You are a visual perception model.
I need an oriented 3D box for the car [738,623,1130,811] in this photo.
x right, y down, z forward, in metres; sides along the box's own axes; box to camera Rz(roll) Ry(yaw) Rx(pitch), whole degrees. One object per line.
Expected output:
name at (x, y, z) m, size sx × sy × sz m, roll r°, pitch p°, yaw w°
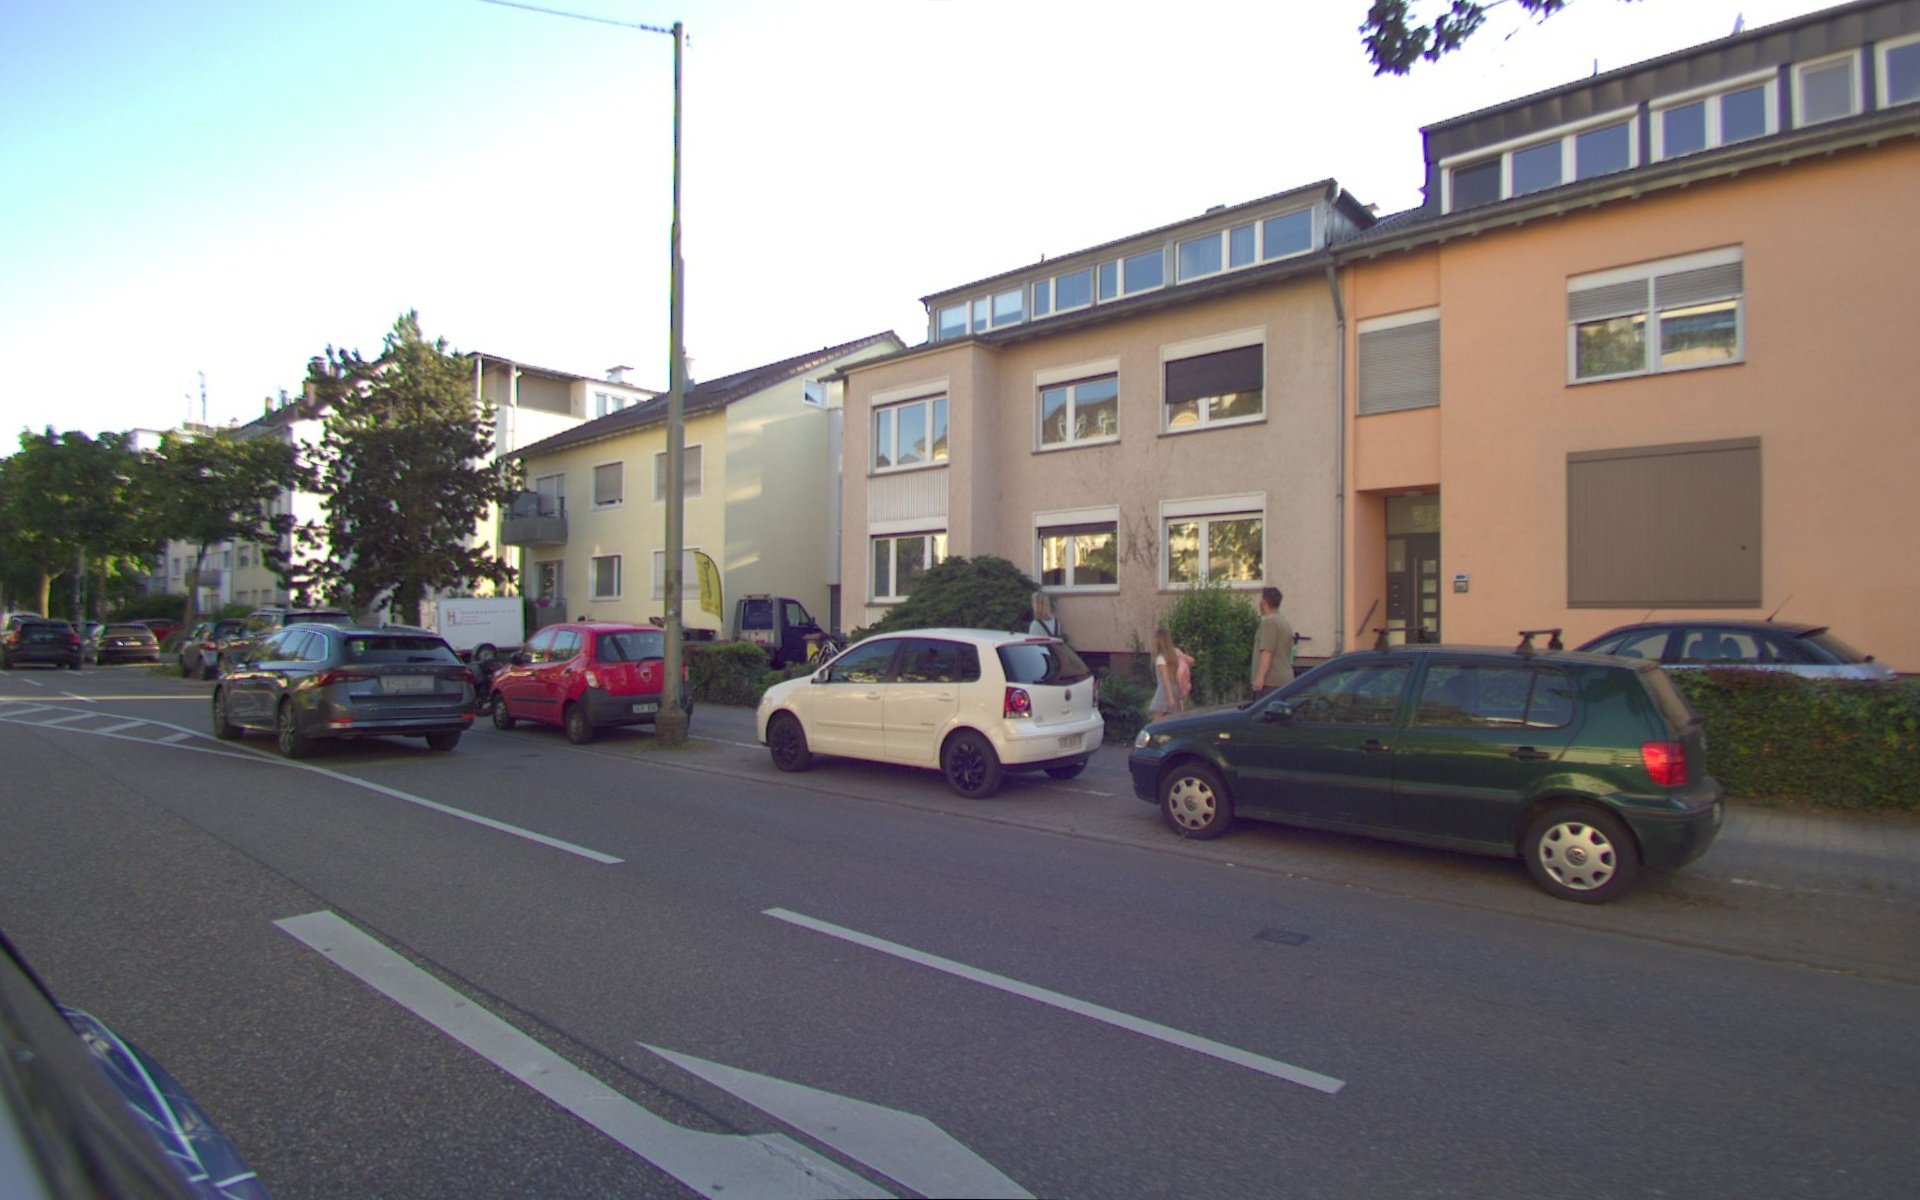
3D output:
car at (-0.385, 1.000, 10.146) m, size 3.888 × 1.535 × 1.577 m, roll -1°, pitch -2°, yaw 40°

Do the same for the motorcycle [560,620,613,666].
motorcycle at (-11.797, 1.339, 31.927) m, size 2.257 × 1.384 × 0.564 m, roll -1°, pitch -3°, yaw 41°

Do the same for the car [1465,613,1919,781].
car at (7.443, 0.885, 10.388) m, size 3.752 × 1.420 × 1.646 m, roll -1°, pitch -3°, yaw 43°

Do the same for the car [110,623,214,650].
car at (-46.807, 2.093, 59.480) m, size 1.735 × 1.416 × 4.516 m, roll -1°, pitch 0°, yaw 31°

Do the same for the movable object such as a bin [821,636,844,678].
movable object such as a bin at (-3.212, 1.434, 25.492) m, size 0.349 × 1.046 × 0.430 m, roll -1°, pitch -3°, yaw 41°

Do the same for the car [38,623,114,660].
car at (-37.406, 1.751, 42.807) m, size 3.997 × 1.497 × 1.838 m, roll -1°, pitch -3°, yaw 40°

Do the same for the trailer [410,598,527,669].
trailer at (-14.830, 1.009, 30.616) m, size 1.551 × 2.029 × 2.745 m, roll -1°, pitch -2°, yaw 39°

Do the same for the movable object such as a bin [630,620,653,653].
movable object such as a bin at (-9.949, 1.134, 31.620) m, size 0.450 × 1.026 × 0.497 m, roll -1°, pitch -3°, yaw 40°

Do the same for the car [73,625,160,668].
car at (-29.541, 1.598, 35.403) m, size 4.441 × 1.418 × 1.620 m, roll -1°, pitch -2°, yaw 41°

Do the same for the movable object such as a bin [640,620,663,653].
movable object such as a bin at (-9.537, 1.126, 31.296) m, size 0.450 × 1.026 × 0.497 m, roll -1°, pitch -3°, yaw 40°

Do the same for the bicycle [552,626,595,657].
bicycle at (-13.440, 1.433, 35.166) m, size 2.045 × 1.072 × 0.513 m, roll -1°, pitch -2°, yaw 41°

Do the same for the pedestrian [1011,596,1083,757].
pedestrian at (1.018, 0.871, 11.833) m, size 0.506 × 1.806 × 0.705 m, roll -1°, pitch -3°, yaw 44°

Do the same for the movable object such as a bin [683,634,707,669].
movable object such as a bin at (-7.804, 1.504, 29.766) m, size 0.450 × 1.026 × 0.497 m, roll -1°, pitch -3°, yaw 40°

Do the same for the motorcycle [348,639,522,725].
motorcycle at (-8.496, 1.292, 16.409) m, size 2.350 × 1.276 × 1.176 m, roll 0°, pitch -2°, yaw 18°

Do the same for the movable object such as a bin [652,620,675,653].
movable object such as a bin at (-9.069, 1.115, 30.947) m, size 0.450 × 1.026 × 0.497 m, roll -1°, pitch -3°, yaw 40°

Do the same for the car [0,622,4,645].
car at (-59.935, 2.027, 62.233) m, size 3.682 × 1.416 × 1.388 m, roll -1°, pitch -2°, yaw 43°

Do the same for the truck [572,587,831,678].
truck at (-6.853, 0.897, 27.780) m, size 2.275 × 2.202 × 6.823 m, roll -1°, pitch -2°, yaw 41°

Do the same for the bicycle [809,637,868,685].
bicycle at (-2.901, 1.423, 24.056) m, size 1.710 × 1.094 × 0.329 m, roll -1°, pitch -3°, yaw 41°

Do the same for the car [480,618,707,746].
car at (-5.101, 1.025, 13.888) m, size 3.437 × 1.535 × 1.575 m, roll -1°, pitch -2°, yaw 44°

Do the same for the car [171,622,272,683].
car at (-19.863, 1.374, 27.191) m, size 2.747 × 1.567 × 1.557 m, roll -1°, pitch -2°, yaw 40°

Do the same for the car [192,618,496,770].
car at (-7.393, 1.000, 11.943) m, size 4.532 × 1.463 × 1.742 m, roll -1°, pitch -5°, yaw 41°

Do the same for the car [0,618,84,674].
car at (-28.443, 1.381, 31.002) m, size 3.998 × 1.582 × 1.816 m, roll -1°, pitch -4°, yaw 41°

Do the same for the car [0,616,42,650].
car at (-52.162, 1.823, 55.838) m, size 4.190 × 1.823 × 1.717 m, roll -1°, pitch -2°, yaw 41°

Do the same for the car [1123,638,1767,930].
car at (3.075, 0.984, 6.853) m, size 3.664 × 1.407 × 1.527 m, roll -1°, pitch -2°, yaw 41°

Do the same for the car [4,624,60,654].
car at (-47.019, 1.957, 51.259) m, size 3.634 × 1.475 × 1.717 m, roll -1°, pitch -2°, yaw 41°

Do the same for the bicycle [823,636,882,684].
bicycle at (-2.592, 1.420, 24.260) m, size 1.710 × 1.094 × 0.329 m, roll -1°, pitch -3°, yaw 41°

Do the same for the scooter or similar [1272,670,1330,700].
scooter or similar at (6.041, 1.513, 17.932) m, size 0.870 × 0.513 × 0.396 m, roll -5°, pitch -5°, yaw 43°

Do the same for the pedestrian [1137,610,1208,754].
pedestrian at (2.314, 0.867, 11.015) m, size 0.542 × 1.507 × 0.583 m, roll -1°, pitch -3°, yaw 44°

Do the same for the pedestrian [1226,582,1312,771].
pedestrian at (3.096, 0.745, 10.128) m, size 0.572 × 1.806 × 0.705 m, roll -1°, pitch -3°, yaw 44°

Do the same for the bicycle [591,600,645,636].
bicycle at (-11.000, 0.583, 32.509) m, size 2.257 × 1.149 × 0.564 m, roll -1°, pitch -2°, yaw 41°

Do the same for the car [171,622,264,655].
car at (-36.457, 1.890, 49.754) m, size 1.686 × 1.535 × 3.422 m, roll -1°, pitch -2°, yaw 42°

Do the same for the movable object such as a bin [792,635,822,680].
movable object such as a bin at (-3.788, 1.413, 25.059) m, size 0.586 × 1.099 × 0.483 m, roll -1°, pitch -2°, yaw 41°

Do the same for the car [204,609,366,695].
car at (-15.705, 1.148, 23.453) m, size 4.723 × 1.793 × 1.868 m, roll -1°, pitch -2°, yaw 40°
